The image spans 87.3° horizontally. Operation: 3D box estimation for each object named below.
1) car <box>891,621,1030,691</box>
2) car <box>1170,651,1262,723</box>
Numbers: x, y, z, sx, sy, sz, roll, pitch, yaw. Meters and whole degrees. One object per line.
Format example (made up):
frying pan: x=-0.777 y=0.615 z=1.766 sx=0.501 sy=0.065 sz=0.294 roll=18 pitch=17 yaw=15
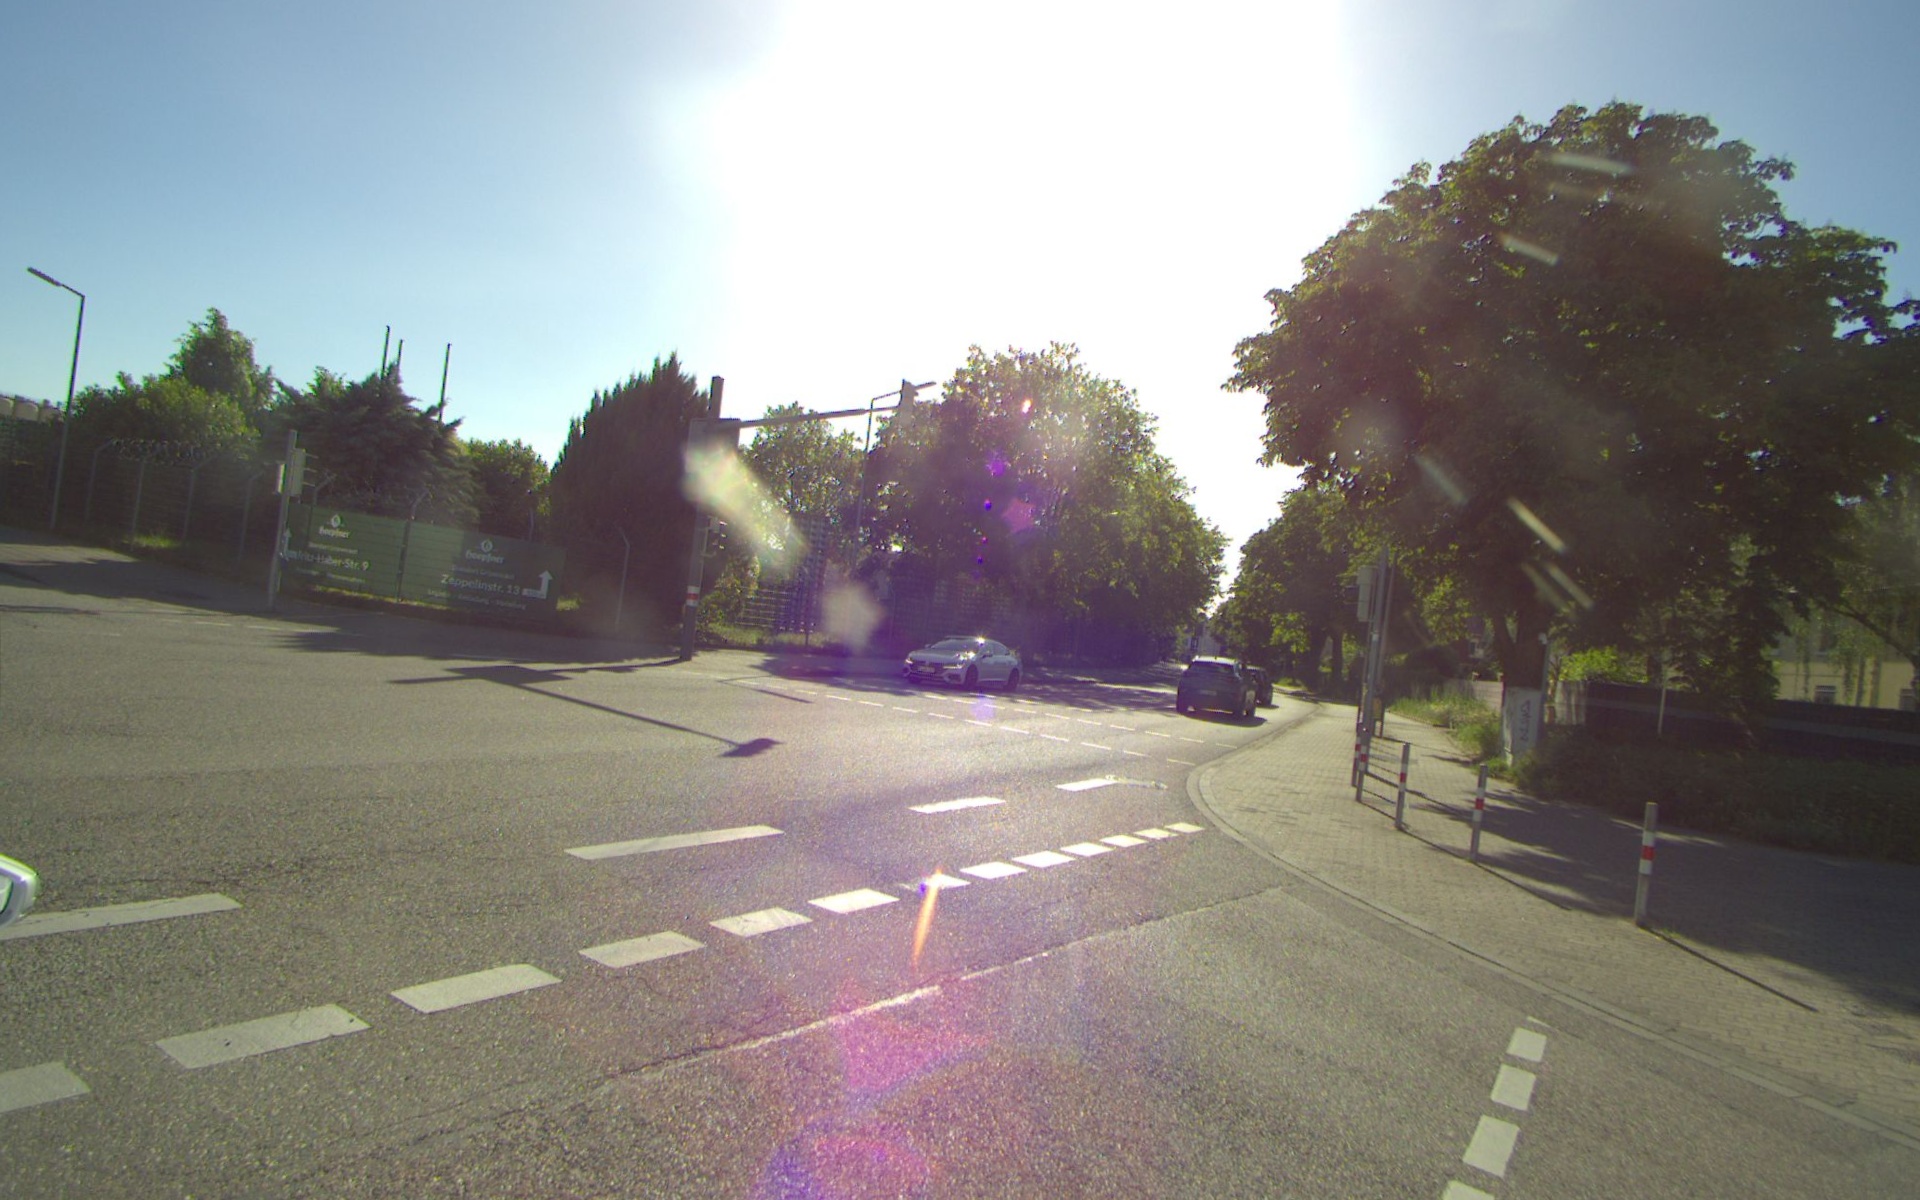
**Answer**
car: x=0.117 y=1.583 z=27.524 sx=1.779 sy=1.550 sz=4.511 roll=7 pitch=-2 yaw=28
car: x=7.415 y=2.490 z=28.831 sx=1.828 sy=1.653 sz=4.258 roll=7 pitch=-2 yaw=23
